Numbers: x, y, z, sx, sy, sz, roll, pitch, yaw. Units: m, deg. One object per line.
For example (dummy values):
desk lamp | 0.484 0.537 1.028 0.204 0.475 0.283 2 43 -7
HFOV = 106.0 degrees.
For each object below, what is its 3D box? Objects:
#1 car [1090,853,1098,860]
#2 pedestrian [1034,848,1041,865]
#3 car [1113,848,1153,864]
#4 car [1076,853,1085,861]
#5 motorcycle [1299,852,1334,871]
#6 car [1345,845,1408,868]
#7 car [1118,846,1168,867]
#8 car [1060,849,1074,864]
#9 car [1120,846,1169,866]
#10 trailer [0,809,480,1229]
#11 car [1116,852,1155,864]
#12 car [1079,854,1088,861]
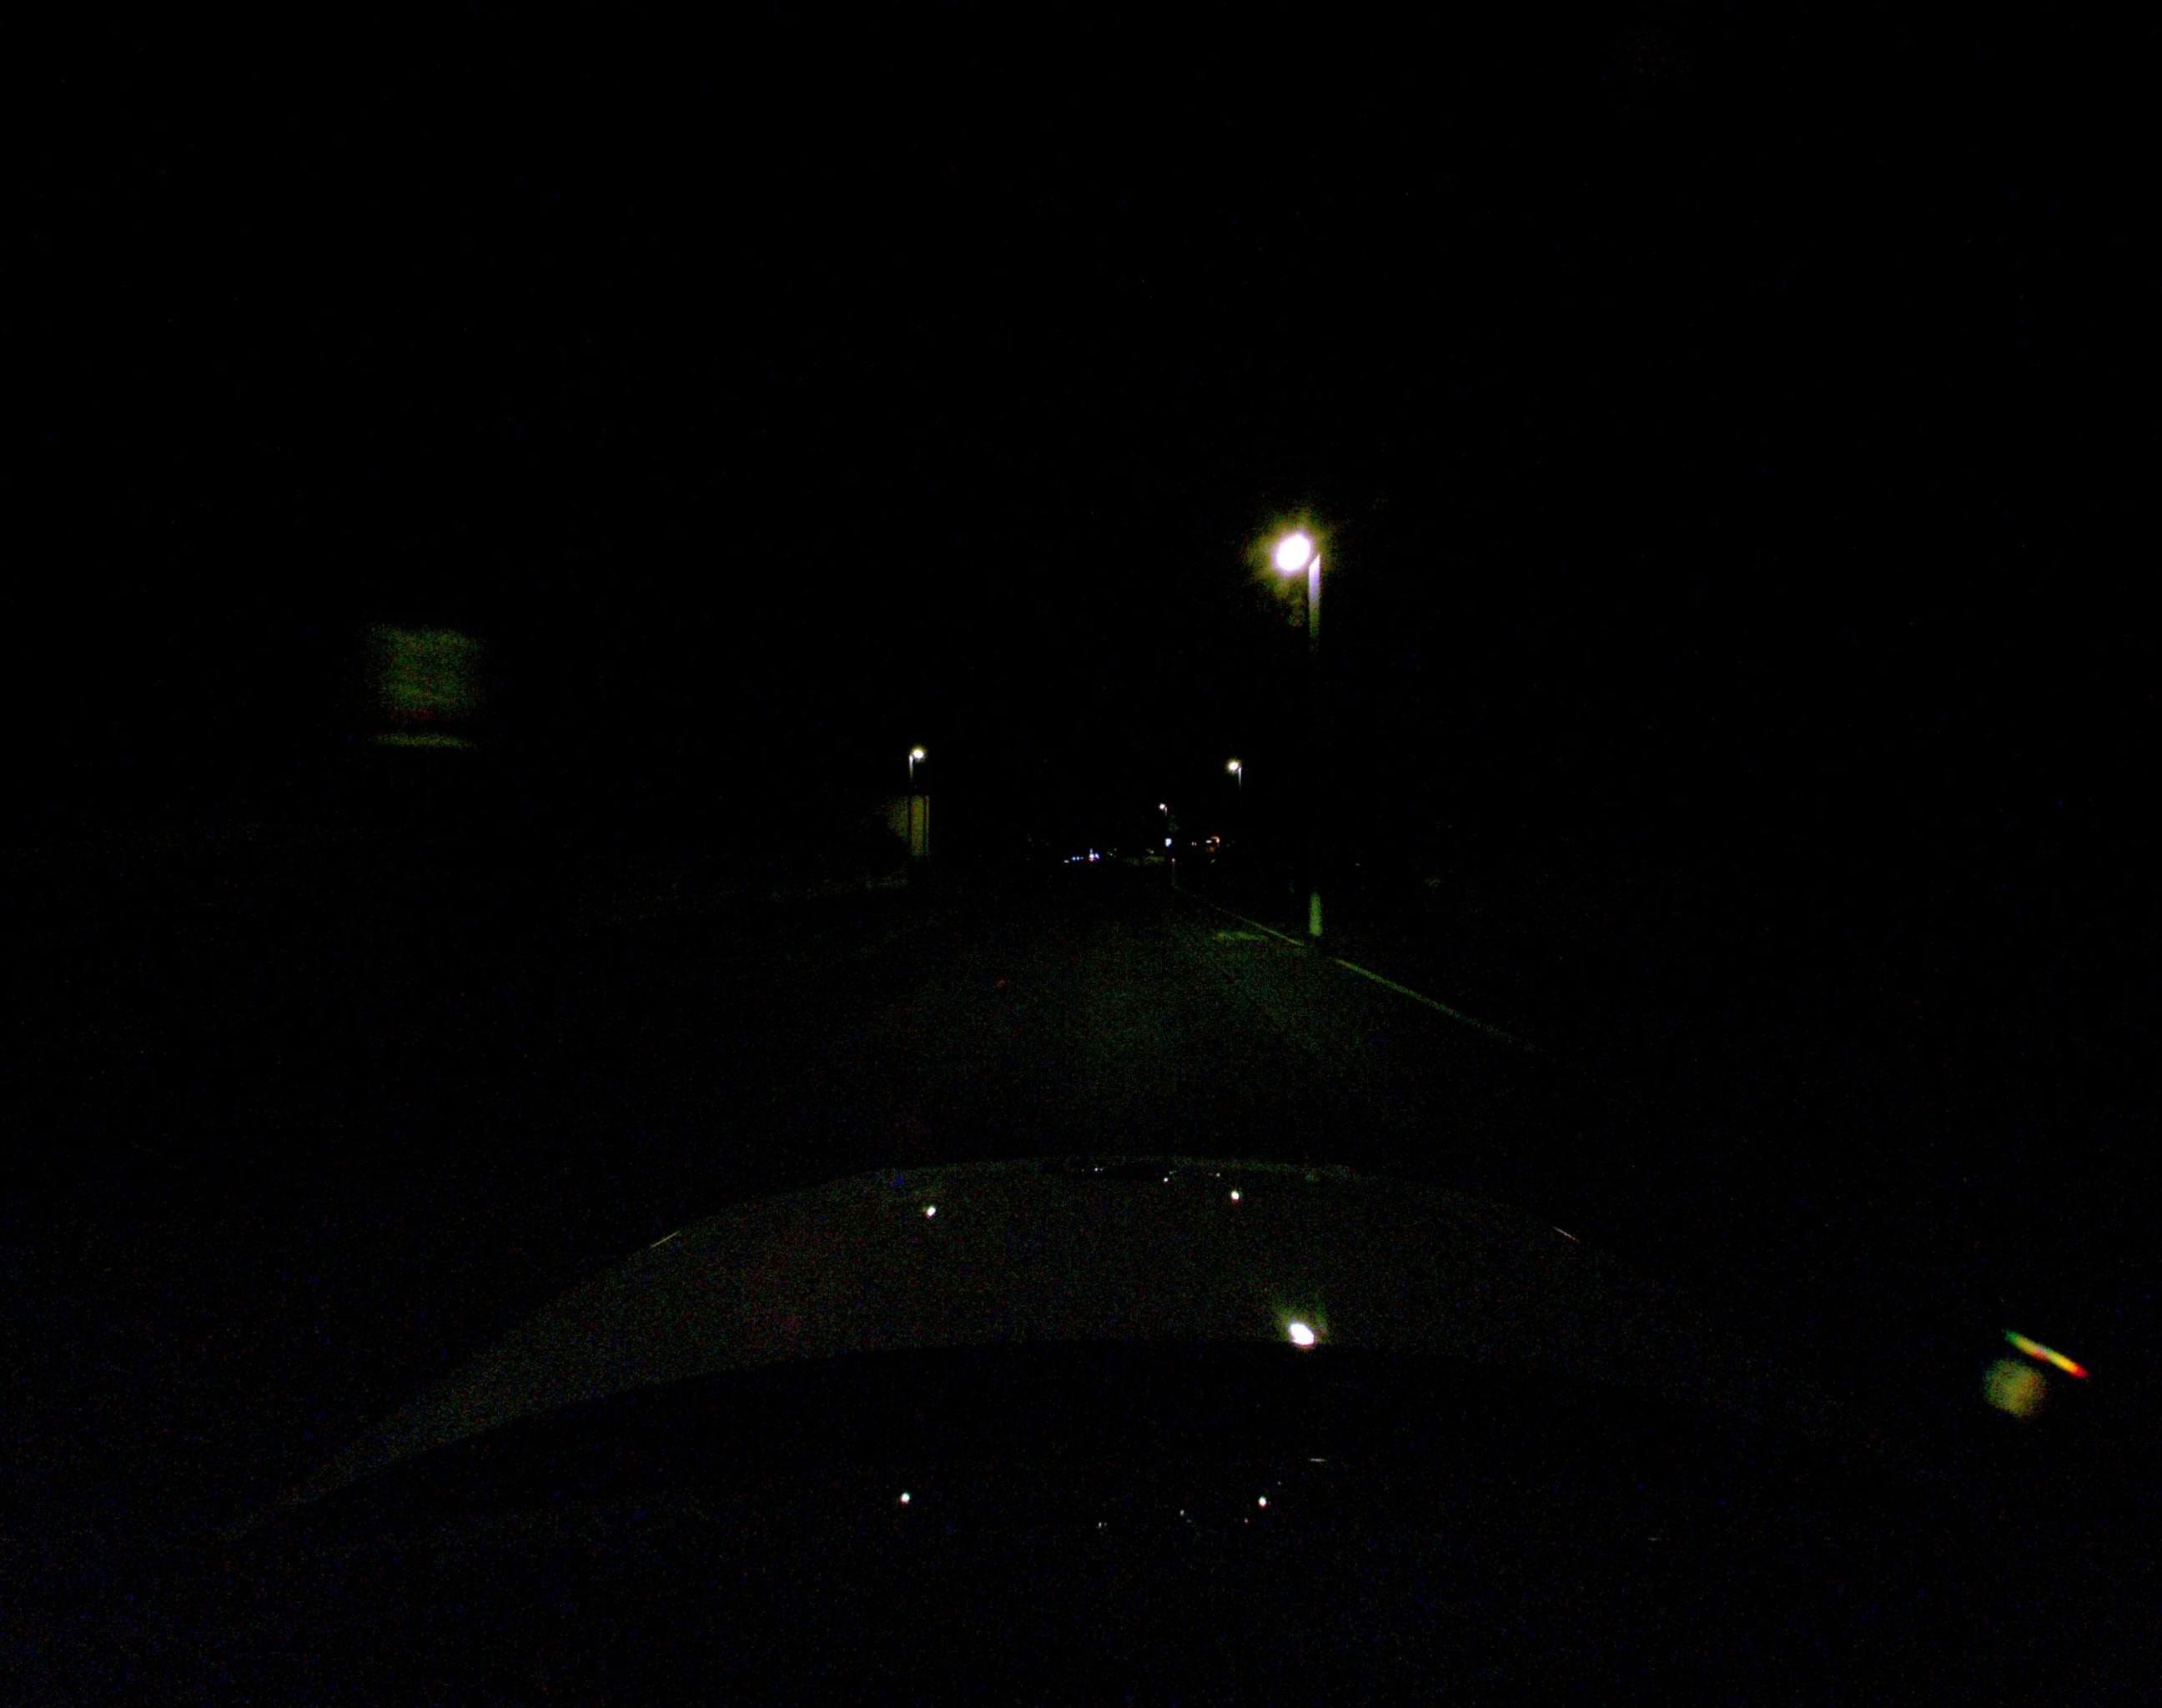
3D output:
car | 3.229 0.667 207.104 1.921 1.648 3.821 -1 0 0
pedestrian | -5.240 0.255 98.048 0.782 2.013 1.204 1 0 1
car | 7.125 0.270 111.540 5.150 1.887 2.108 -2 0 10
car | -0.095 0.470 143.022 1.678 1.331 3.599 0 0 0
motorcycle | 16.038 0.491 55.467 2.262 1.214 0.708 -2 0 -15
car | 20.379 0.154 56.223 3.625 1.479 1.855 -2 0 -15
car | 6.592 0.290 86.720 5.166 2.013 2.101 -2 0 0
car | -1.914 0.290 110.595 1.819 1.986 4.465 1 0 0
car | 6.941 0.249 89.829 5.166 2.013 2.101 -2 0 0
trailer | -4.987 0.638 3.896 1.441 1.688 3.430 2 0 4
car | 7.255 0.492 108.815 5.166 1.469 2.101 -2 0 0
car | 0.483 0.664 159.765 1.678 1.331 3.599 0 0 0
